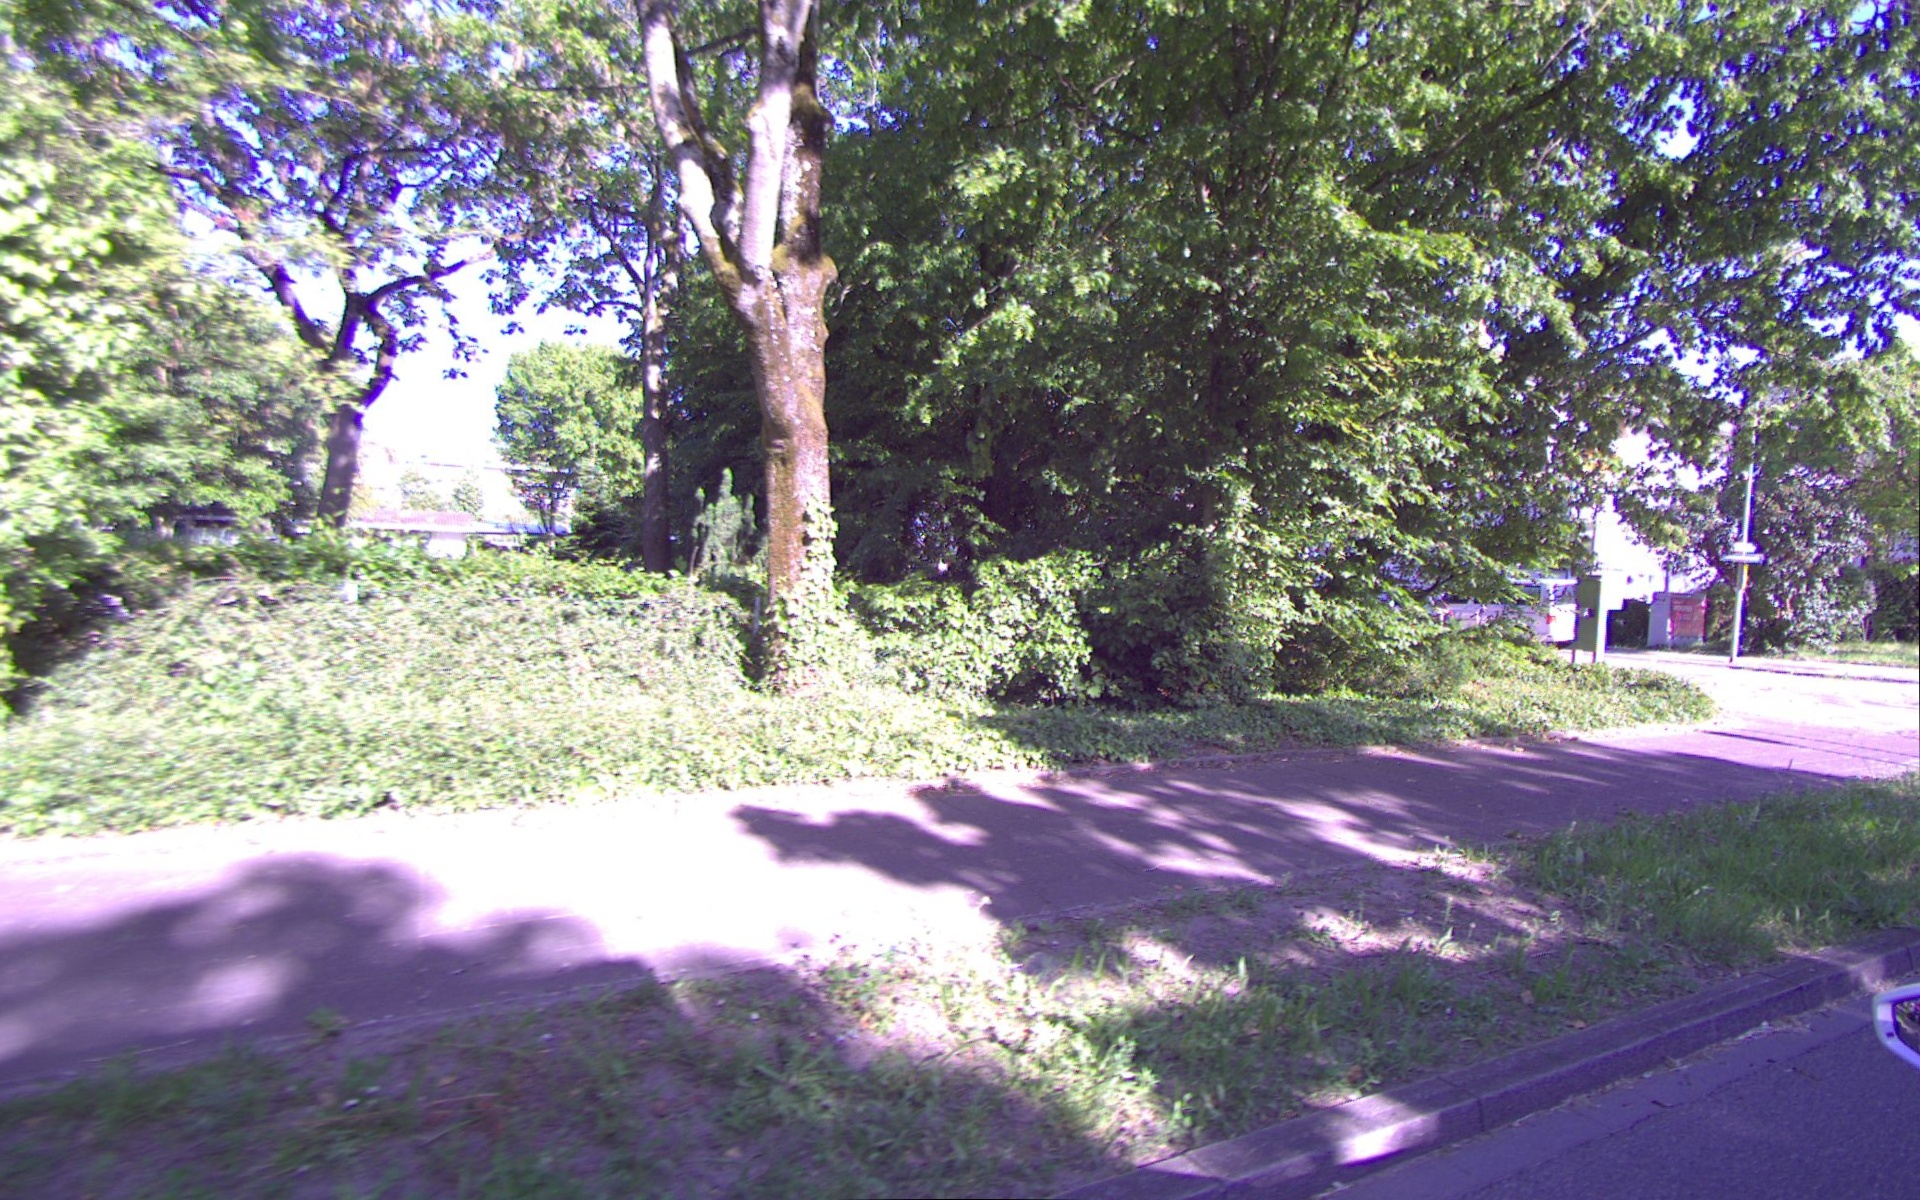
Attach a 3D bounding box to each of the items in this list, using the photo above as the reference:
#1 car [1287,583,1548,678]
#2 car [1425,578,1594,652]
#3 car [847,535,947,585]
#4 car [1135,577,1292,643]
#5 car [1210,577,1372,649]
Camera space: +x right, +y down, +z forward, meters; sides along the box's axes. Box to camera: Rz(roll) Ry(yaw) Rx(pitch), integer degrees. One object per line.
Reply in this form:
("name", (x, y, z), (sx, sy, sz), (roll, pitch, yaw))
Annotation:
("car", (7.984, 0.465, 17.948), (1.657, 1.413, 4.093), (1, 1, -27))
("car", (15.956, 0.391, 29.387), (1.657, 1.990, 4.093), (1, 0, -27))
("car", (-2.773, -1.739, 44.218), (4.071, 1.990, 1.666), (1, 0, -28))
("car", (6.905, 0.291, 27.294), (4.071, 1.655, 1.666), (1, 0, -28))
("car", (8.283, 0.332, 25.079), (3.811, 1.674, 1.666), (1, 0, -28))
